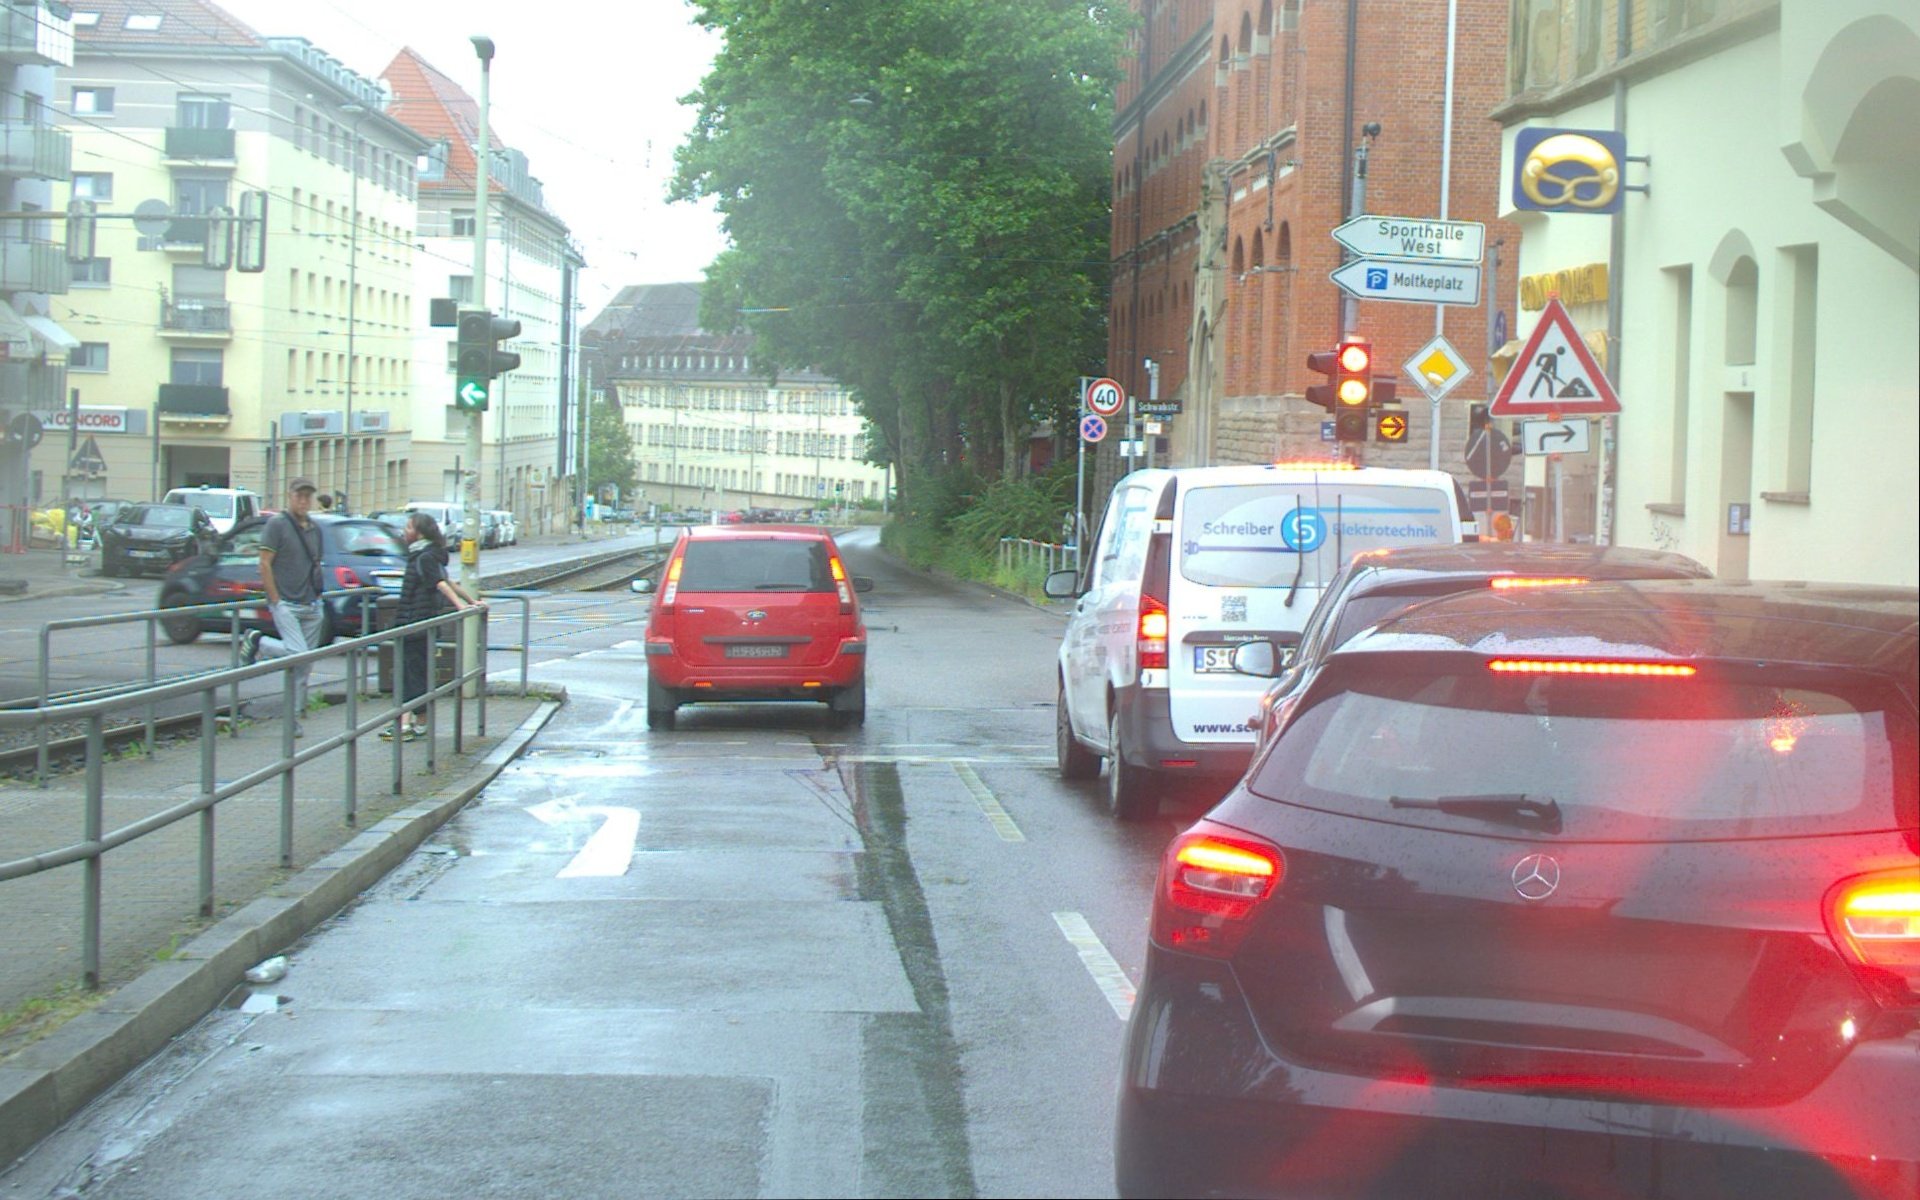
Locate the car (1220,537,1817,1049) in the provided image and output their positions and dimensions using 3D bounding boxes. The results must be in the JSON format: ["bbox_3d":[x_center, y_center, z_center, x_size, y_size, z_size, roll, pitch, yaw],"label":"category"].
[{"bbox_3d":[1.917,0.532,12.375,1.714,1.464,4.280,2,1,7],"label":"car"}]

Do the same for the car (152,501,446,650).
[{"bbox_3d":[-7.280,-0.284,37.763,3.159,1.484,1.421,3,2,38],"label":"car"}]

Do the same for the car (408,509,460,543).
[{"bbox_3d":[-18.654,-2.632,122.008,1.395,1.167,3.162,2,1,-1],"label":"car"}]

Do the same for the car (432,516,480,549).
[{"bbox_3d":[-18.859,-2.538,128.661,1.395,1.167,3.162,2,1,-1],"label":"car"}]

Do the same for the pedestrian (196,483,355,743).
[{"bbox_3d":[-4.655,0.078,23.369,0.739,1.718,0.740,1,1,-45],"label":"pedestrian"}]

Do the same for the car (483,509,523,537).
[{"bbox_3d":[-19.956,-3.358,150.236,1.395,1.167,3.162,2,1,-1],"label":"car"}]

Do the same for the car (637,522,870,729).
[{"bbox_3d":[-1.626,0.149,26.967,1.679,1.484,3.613,1,1,-4],"label":"car"}]

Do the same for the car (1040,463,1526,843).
[{"bbox_3d":[1.642,0.207,19.056,1.933,1.825,4.282,2,1,-4],"label":"car"}]

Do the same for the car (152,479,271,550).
[{"bbox_3d":[-16.982,-1.937,78.165,1.786,1.525,4.463,2,1,-1],"label":"car"}]

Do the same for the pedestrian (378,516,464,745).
[{"bbox_3d":[-3.654,0.200,23.306,0.531,1.525,0.437,1,1,-9],"label":"pedestrian"}]

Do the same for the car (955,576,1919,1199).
[{"bbox_3d":[1.754,0.673,7.254,1.897,1.385,3.994,2,1,27],"label":"car"}]

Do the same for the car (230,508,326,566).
[{"bbox_3d":[-16.766,-1.557,84.618,1.680,1.351,3.703,2,1,-1],"label":"car"}]

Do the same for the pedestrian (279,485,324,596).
[{"bbox_3d":[-10.050,-0.913,52.469,0.518,1.660,0.477,3,1,1],"label":"pedestrian"}]

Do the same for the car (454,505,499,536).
[{"bbox_3d":[-19.365,-3.177,137.682,1.395,1.167,3.162,2,1,-1],"label":"car"}]

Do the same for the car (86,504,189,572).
[{"bbox_3d":[-17.141,-1.315,71.773,1.452,1.314,3.295,3,2,-3],"label":"car"}]

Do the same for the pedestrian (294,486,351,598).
[{"bbox_3d":[-9.542,-0.871,51.477,0.679,1.655,0.676,1,1,5],"label":"pedestrian"}]
